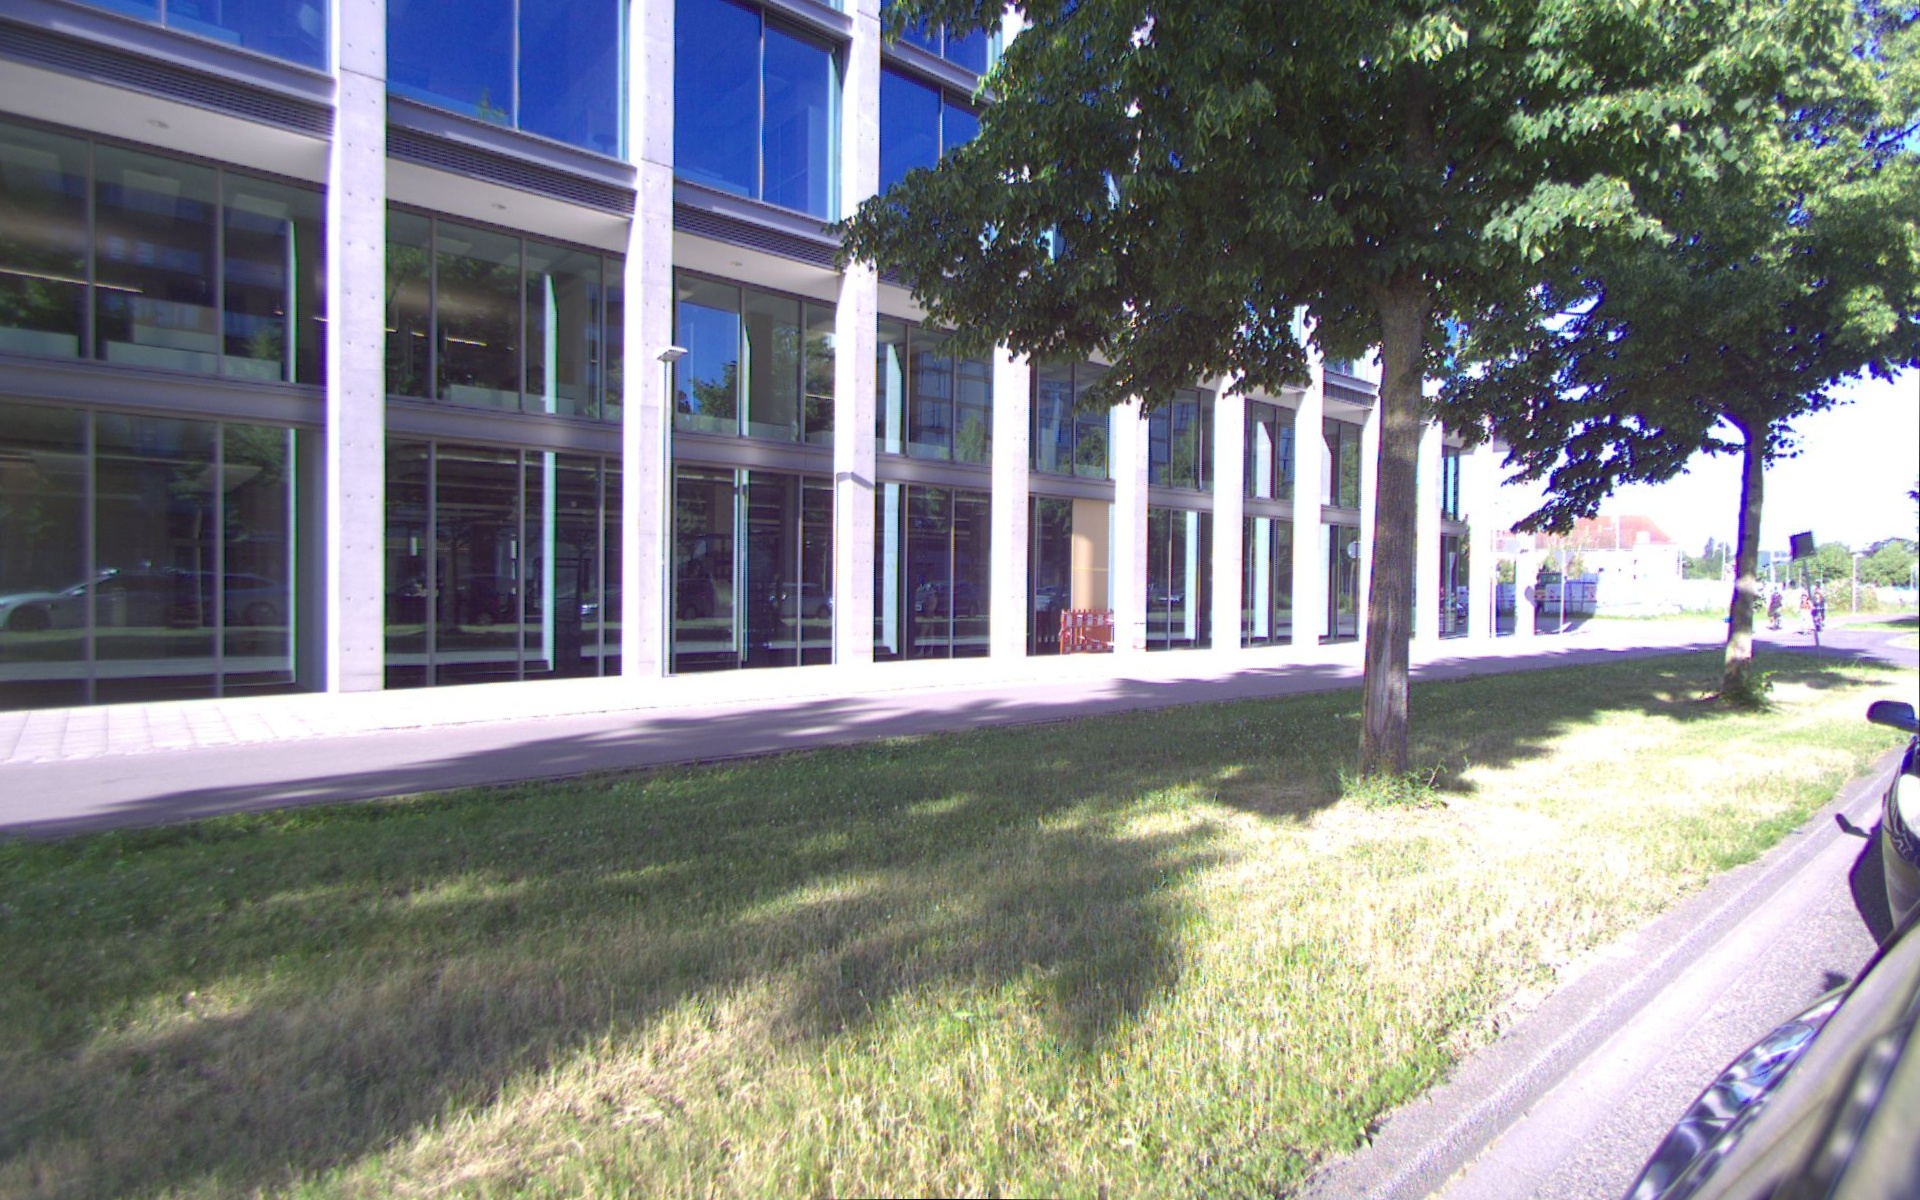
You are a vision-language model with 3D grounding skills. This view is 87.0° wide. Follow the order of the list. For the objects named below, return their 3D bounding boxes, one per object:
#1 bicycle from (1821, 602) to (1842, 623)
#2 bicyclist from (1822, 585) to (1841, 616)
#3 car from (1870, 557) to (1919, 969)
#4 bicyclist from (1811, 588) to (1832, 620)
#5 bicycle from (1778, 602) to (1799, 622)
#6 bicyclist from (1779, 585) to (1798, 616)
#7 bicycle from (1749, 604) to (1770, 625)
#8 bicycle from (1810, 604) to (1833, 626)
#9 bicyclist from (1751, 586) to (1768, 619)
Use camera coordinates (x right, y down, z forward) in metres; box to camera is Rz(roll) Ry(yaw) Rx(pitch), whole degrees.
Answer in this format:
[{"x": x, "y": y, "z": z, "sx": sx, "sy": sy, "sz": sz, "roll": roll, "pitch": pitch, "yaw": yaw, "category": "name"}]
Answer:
[{"x": 36.533, "y": 0.512, "z": 42.424, "sx": 1.321, "sy": 0.828, "sz": 0.464, "roll": -1, "pitch": 1, "yaw": -40, "category": "bicycle"}, {"x": 36.636, "y": 0.029, "z": 42.536, "sx": 0.512, "sy": 1.305, "sz": 0.534, "roll": -1, "pitch": 0, "yaw": -40, "category": "bicyclist"}, {"x": 5.448, "y": 0.606, "z": 4.458, "sx": 3.719, "sy": 1.541, "sz": 1.685, "roll": -1, "pitch": 1, "yaw": -41, "category": "car"}, {"x": 33.648, "y": 0.140, "z": 39.531, "sx": 0.498, "sy": 1.232, "sz": 0.534, "roll": -1, "pitch": 0, "yaw": -40, "category": "bicyclist"}, {"x": 35.456, "y": 0.520, "z": 43.285, "sx": 1.321, "sy": 0.828, "sz": 0.464, "roll": -1, "pitch": 1, "yaw": -40, "category": "bicycle"}, {"x": 35.401, "y": 0.033, "z": 43.234, "sx": 0.449, "sy": 1.305, "sz": 0.534, "roll": -1, "pitch": 0, "yaw": -40, "category": "bicyclist"}, {"x": 32.066, "y": 0.574, "z": 40.577, "sx": 1.297, "sy": 0.828, "sz": 0.415, "roll": -1, "pitch": 1, "yaw": -40, "category": "bicycle"}, {"x": 33.653, "y": 0.572, "z": 39.518, "sx": 1.321, "sy": 0.828, "sz": 0.464, "roll": -1, "pitch": 1, "yaw": -40, "category": "bicycle"}, {"x": 32.057, "y": 0.106, "z": 40.581, "sx": 0.410, "sy": 1.305, "sz": 0.448, "roll": -1, "pitch": 0, "yaw": -40, "category": "bicyclist"}]
